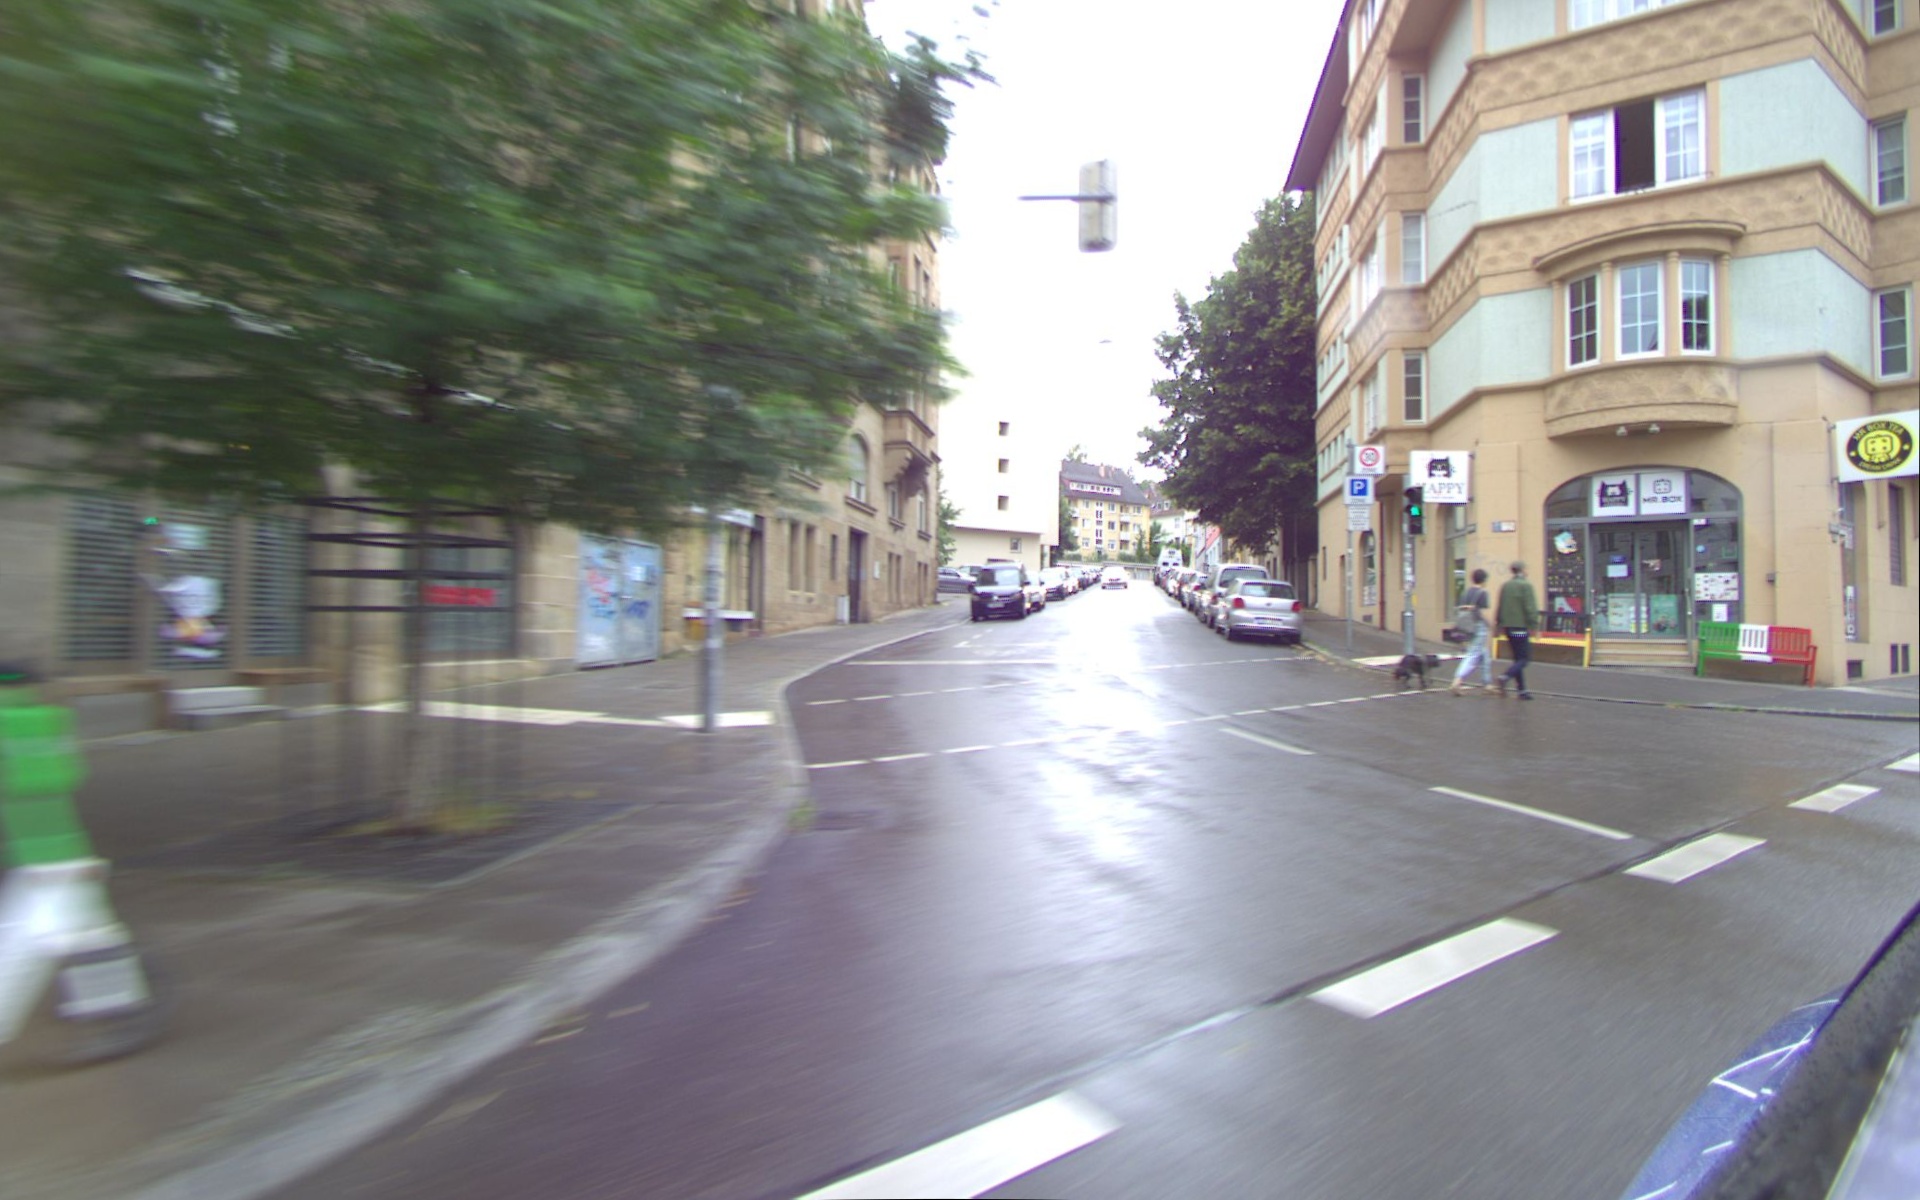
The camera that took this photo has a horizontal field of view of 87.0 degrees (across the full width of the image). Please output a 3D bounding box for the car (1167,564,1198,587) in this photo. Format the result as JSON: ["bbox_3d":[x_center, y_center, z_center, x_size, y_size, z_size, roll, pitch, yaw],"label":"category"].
[{"bbox_3d":[12.548,-1.365,57.201,1.423,1.187,3.276,-2,1,9],"label":"car"}]

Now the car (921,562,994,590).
[{"bbox_3d":[-0.144,-1.378,58.774,3.939,1.502,1.736,-1,-1,13],"label":"car"}]

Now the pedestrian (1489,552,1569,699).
[{"bbox_3d":[7.291,0.300,12.958,0.875,1.811,0.595,0,1,-40],"label":"pedestrian"}]

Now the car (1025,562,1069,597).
[{"bbox_3d":[4.325,-1.009,49.763,1.718,1.528,3.989,-4,0,10],"label":"car"}]

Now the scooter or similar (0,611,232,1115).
[{"bbox_3d":[-2.796,0.655,2.542,1.525,1.225,0.639,0,0,-41],"label":"scooter or similar"}]

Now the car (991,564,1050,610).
[{"bbox_3d":[2.377,-0.513,38.676,1.718,1.528,3.989,-4,0,10],"label":"car"}]

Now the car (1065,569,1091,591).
[{"bbox_3d":[9.164,-1.544,78.414,1.718,1.528,3.989,-4,0,10],"label":"car"}]

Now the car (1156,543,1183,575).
[{"bbox_3d":[17.153,-3.359,83.070,1.918,2.488,3.803,1,1,9],"label":"car"}]

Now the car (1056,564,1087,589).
[{"bbox_3d":[7.607,-1.605,68.941,1.718,1.528,3.989,-4,0,10],"label":"car"}]

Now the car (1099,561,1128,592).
[{"bbox_3d":[10.480,-1.586,68.821,1.718,1.895,3.989,-4,0,10],"label":"car"}]

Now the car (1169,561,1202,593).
[{"bbox_3d":[11.949,-1.194,53.726,1.423,1.594,3.276,-2,1,9],"label":"car"}]

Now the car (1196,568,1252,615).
[{"bbox_3d":[8.514,-0.285,32.842,1.423,1.443,3.291,0,1,9],"label":"car"}]

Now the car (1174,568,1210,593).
[{"bbox_3d":[11.237,-0.941,49.198,1.423,1.139,3.070,-2,1,9],"label":"car"}]

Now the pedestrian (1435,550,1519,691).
[{"bbox_3d":[6.931,0.256,13.559,0.886,1.811,0.683,0,1,-40],"label":"pedestrian"}]

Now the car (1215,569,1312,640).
[{"bbox_3d":[7.070,0.061,23.858,1.663,1.478,3.526,2,1,9],"label":"car"}]

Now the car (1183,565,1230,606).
[{"bbox_3d":[9.413,-0.570,38.807,1.423,1.443,3.291,-2,1,9],"label":"car"}]

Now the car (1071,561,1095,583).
[{"bbox_3d":[10.135,-2.262,83.200,1.718,1.660,3.989,-4,0,10],"label":"car"}]

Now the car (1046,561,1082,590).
[{"bbox_3d":[6.165,-1.461,59.820,1.718,1.528,3.989,-4,0,10],"label":"car"}]

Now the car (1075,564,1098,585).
[{"bbox_3d":[11.061,-2.215,88.202,1.718,1.660,3.989,-4,0,10],"label":"car"}]

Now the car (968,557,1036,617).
[{"bbox_3d":[1.440,-0.459,33.196,1.717,1.747,4.347,-3,1,9],"label":"car"}]

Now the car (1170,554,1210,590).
[{"bbox_3d":[9.944,-1.209,43.858,1.423,1.443,3.291,-2,1,9],"label":"car"}]

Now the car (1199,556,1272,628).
[{"bbox_3d":[7.720,-0.235,28.586,1.579,1.867,3.546,-1,1,9],"label":"car"}]
